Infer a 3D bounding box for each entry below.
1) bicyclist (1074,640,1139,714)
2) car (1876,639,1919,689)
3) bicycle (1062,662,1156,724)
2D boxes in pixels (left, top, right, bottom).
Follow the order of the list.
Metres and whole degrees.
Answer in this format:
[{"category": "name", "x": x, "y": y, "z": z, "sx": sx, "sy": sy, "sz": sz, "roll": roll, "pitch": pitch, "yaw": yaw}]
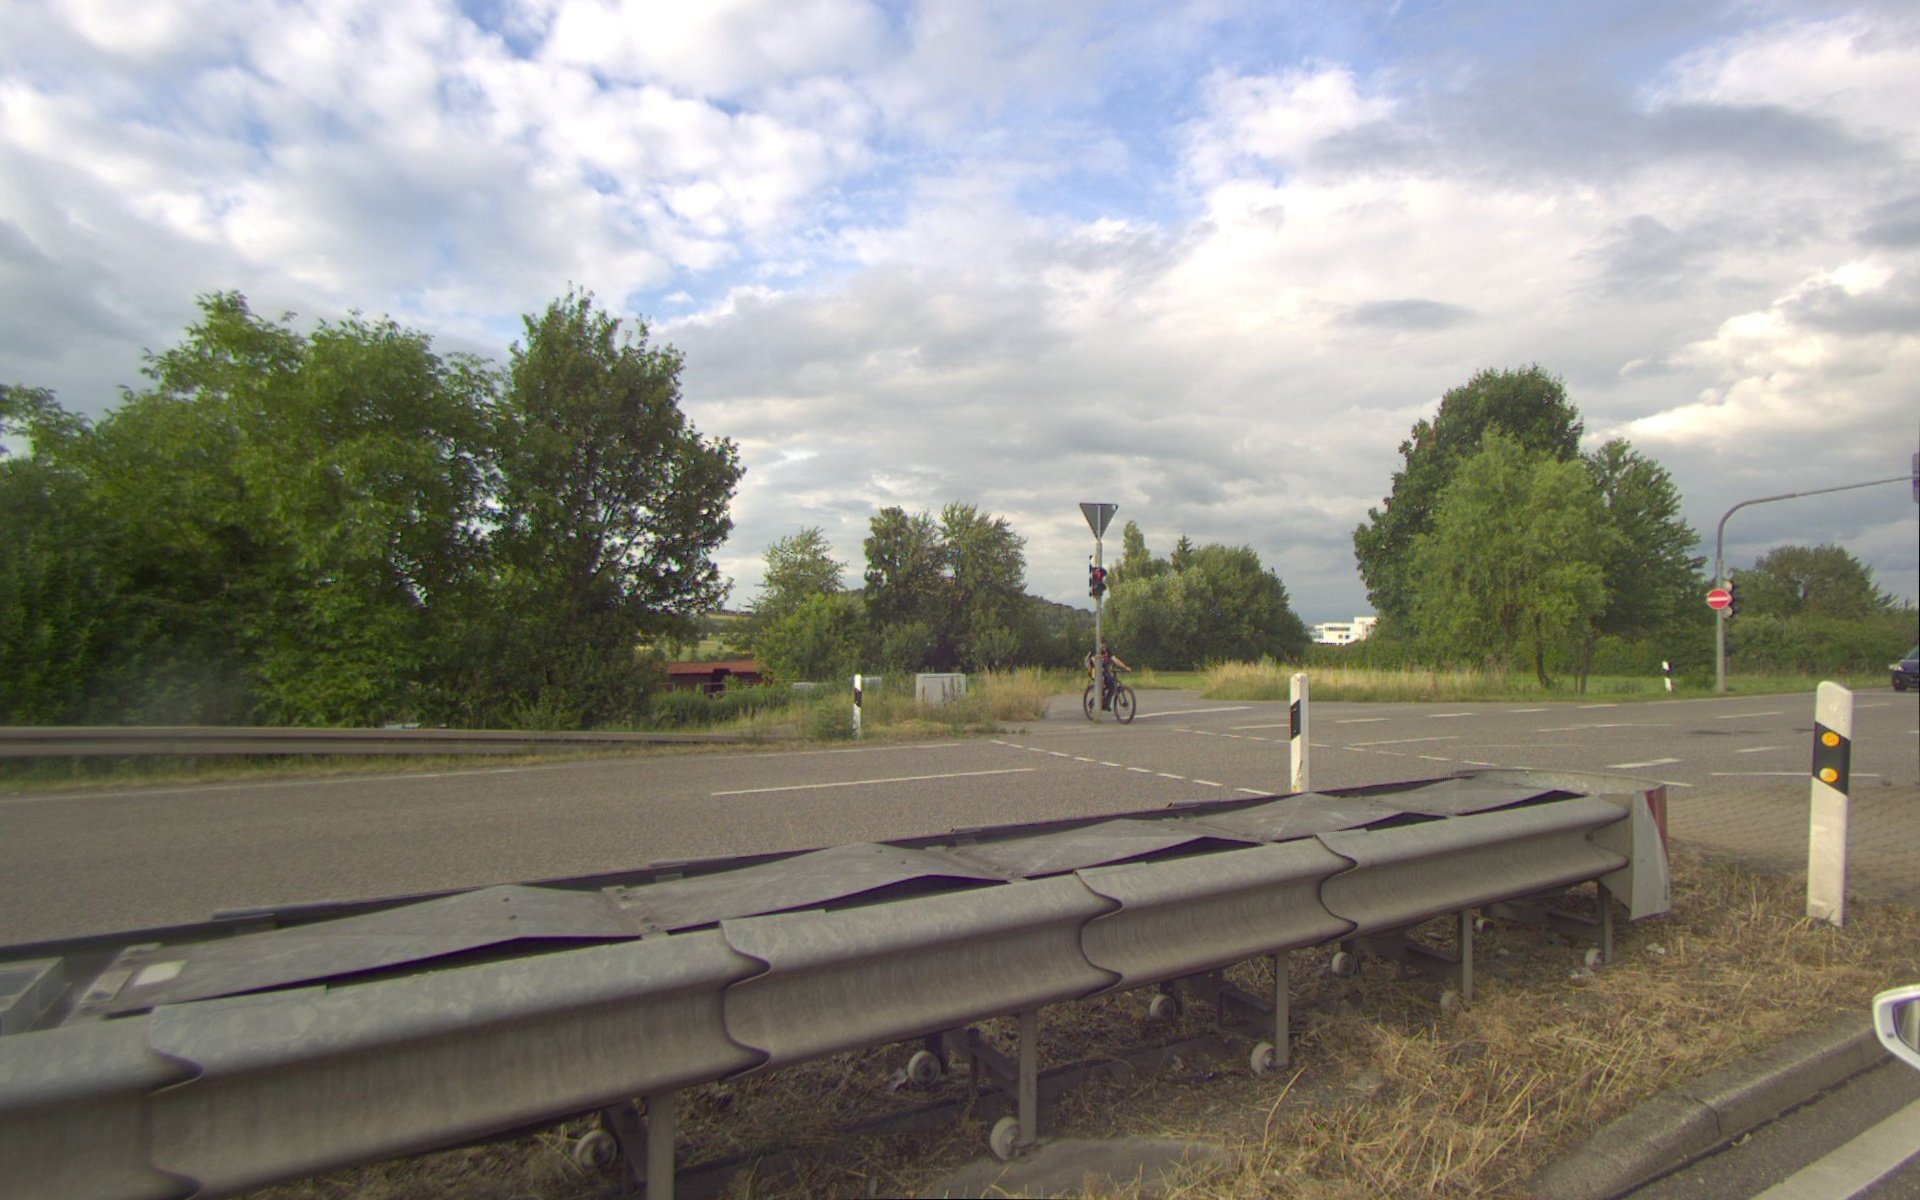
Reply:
[{"category": "bicyclist", "x": 3.028, "y": 1.563, "z": 20.817, "sx": 0.804, "sy": 1.470, "sz": 1.219, "roll": 1, "pitch": -2, "yaw": -24}, {"category": "car", "x": 31.734, "y": 2.034, "z": 32.379, "sx": 4.881, "sy": 1.556, "sz": 1.899, "roll": 1, "pitch": -2, "yaw": -31}, {"category": "bicycle", "x": 3.044, "y": 1.890, "z": 20.780, "sx": 0.804, "sy": 1.152, "sz": 2.314, "roll": 1, "pitch": -2, "yaw": -24}]
